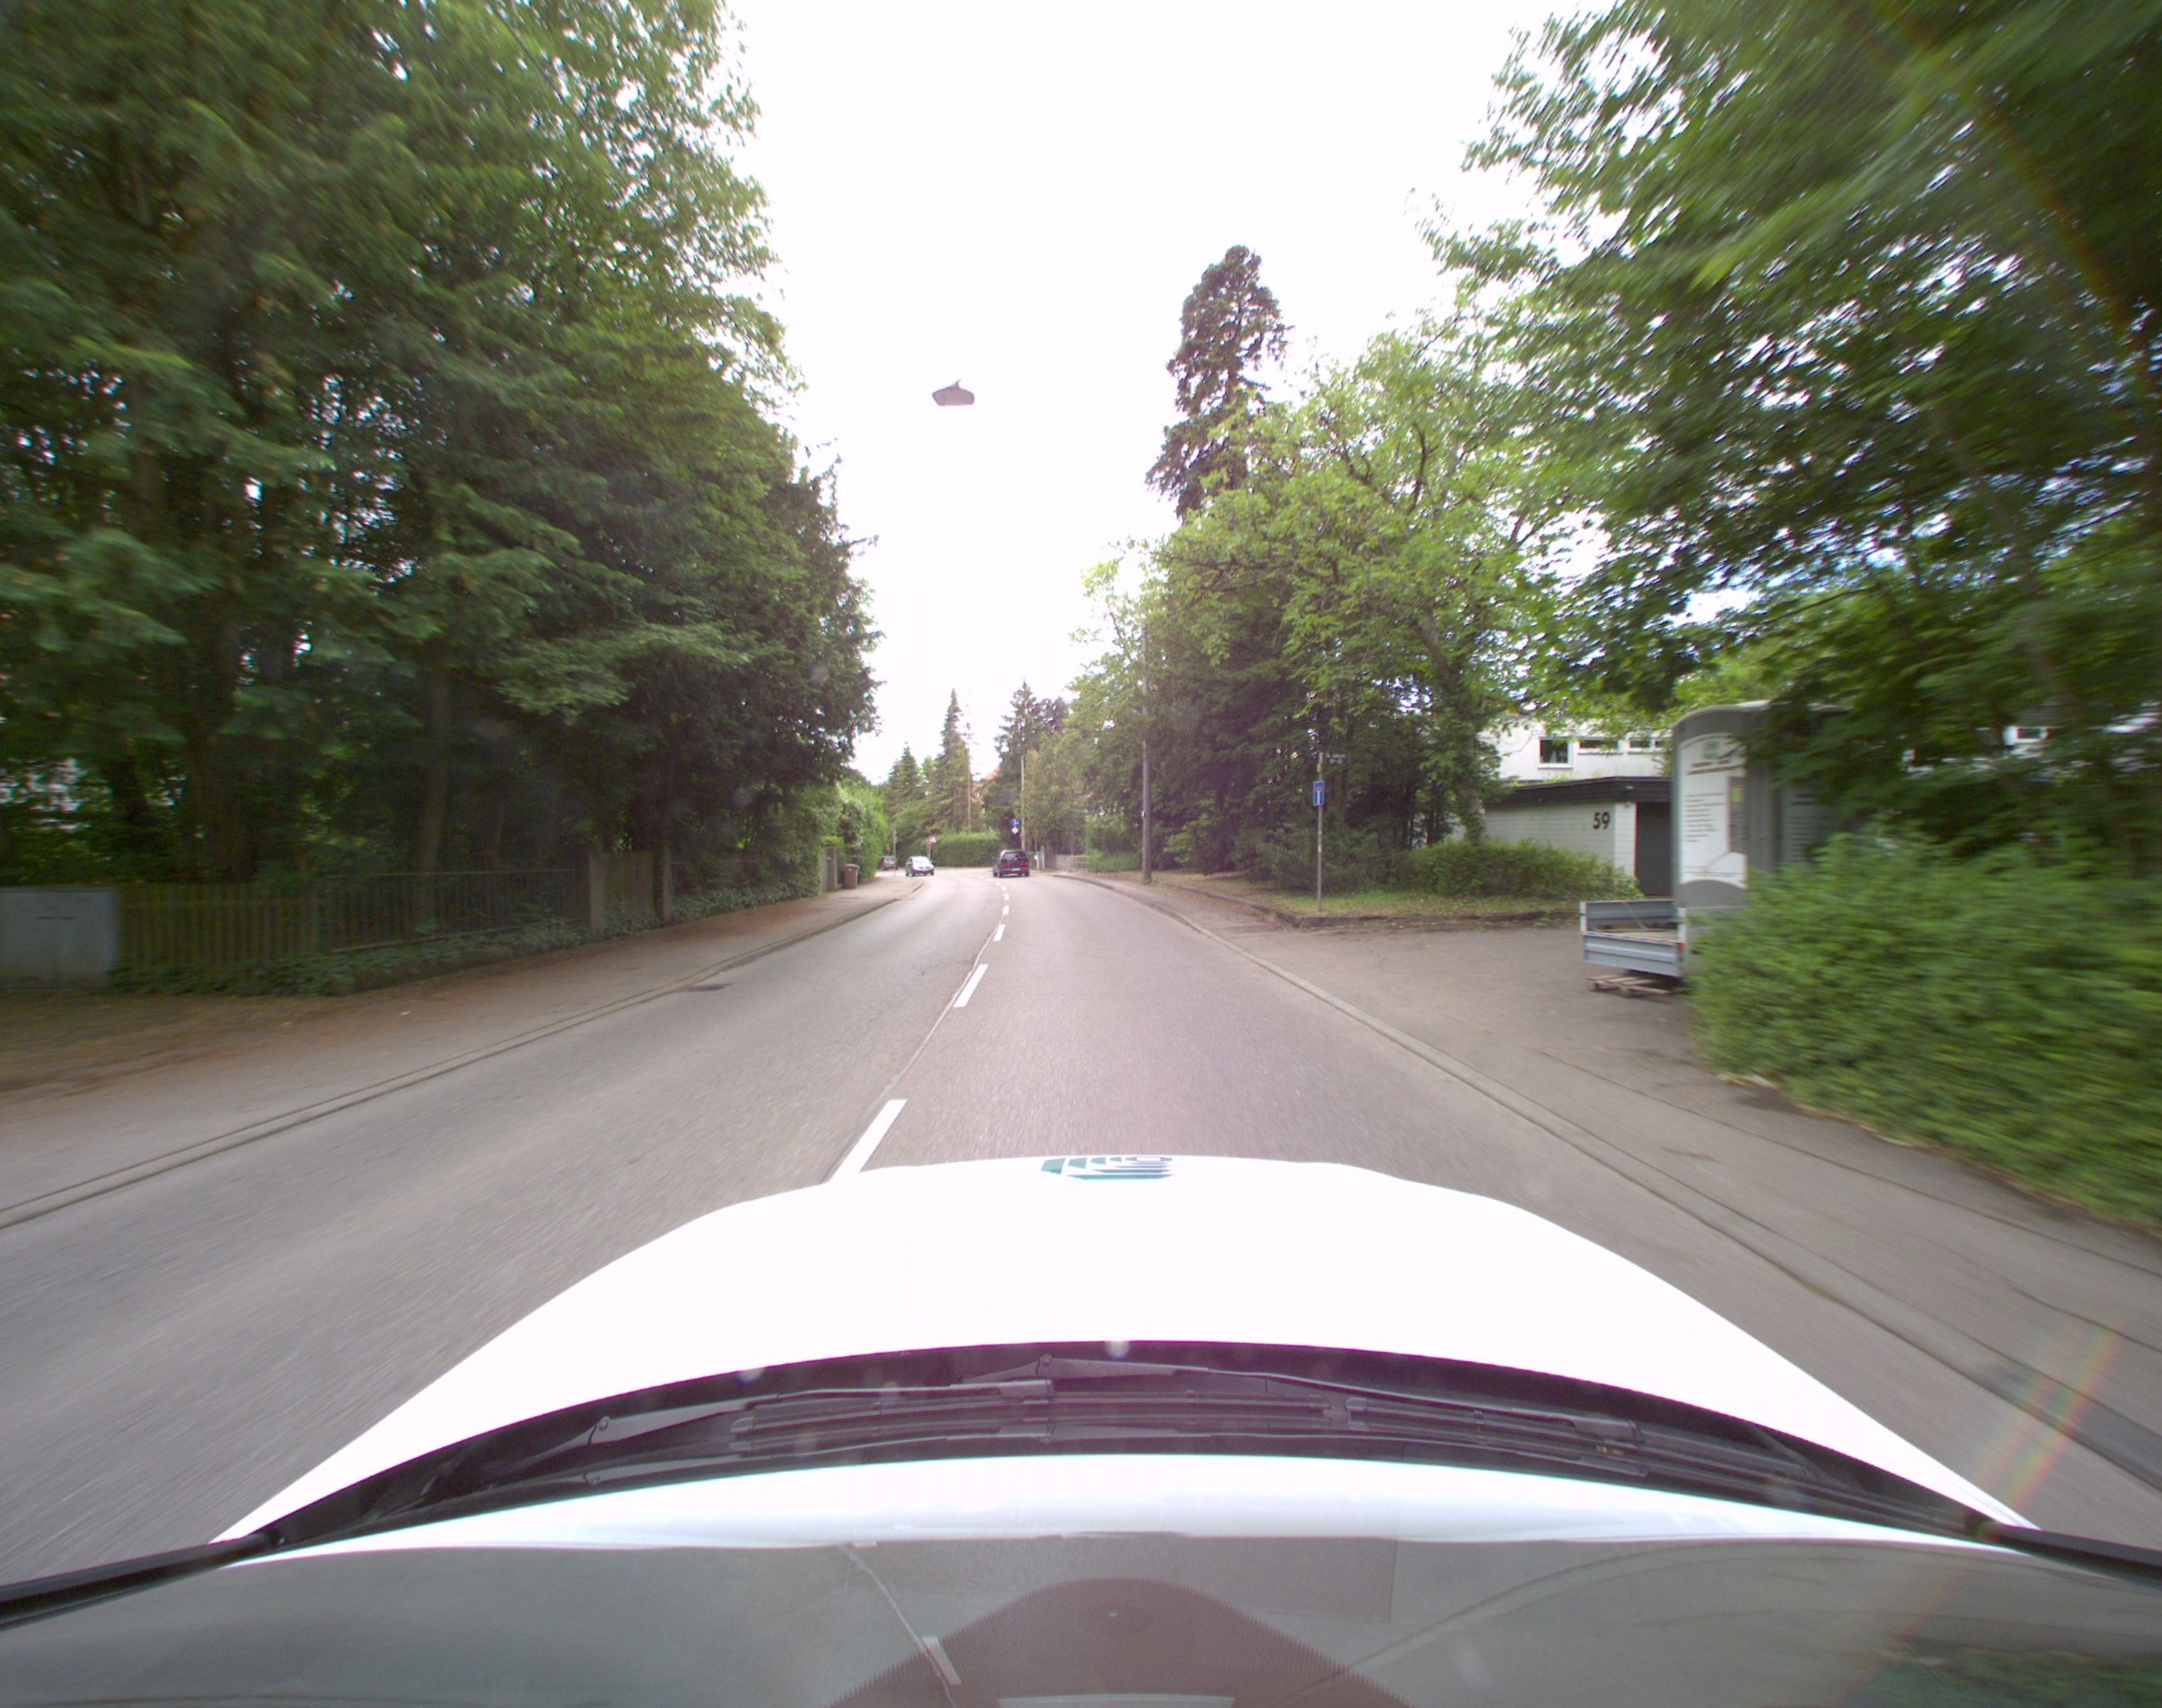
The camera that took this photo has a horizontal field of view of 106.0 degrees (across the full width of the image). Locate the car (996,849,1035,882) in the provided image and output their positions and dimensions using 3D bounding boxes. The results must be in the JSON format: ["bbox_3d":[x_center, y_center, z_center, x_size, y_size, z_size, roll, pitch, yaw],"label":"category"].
[{"bbox_3d":[-4.068,0.678,51.098,1.986,1.881,4.001,0,1,1],"label":"car"}]

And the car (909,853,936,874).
[{"bbox_3d":[-12.937,0.780,66.238,1.996,1.618,3.981,-1,0,-14],"label":"car"}]

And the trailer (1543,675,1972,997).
[{"bbox_3d":[6.698,-0.194,8.278,3.110,2.899,1.591,-1,0,-4],"label":"trailer"}]

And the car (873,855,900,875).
[{"bbox_3d":[-15.874,0.868,66.318,1.907,1.454,3.776,-4,1,-16],"label":"car"}]

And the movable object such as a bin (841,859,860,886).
[{"bbox_3d":[-10.095,0.811,35.677,0.741,1.141,0.644,1,0,-10],"label":"movable object such as a bin"}]
